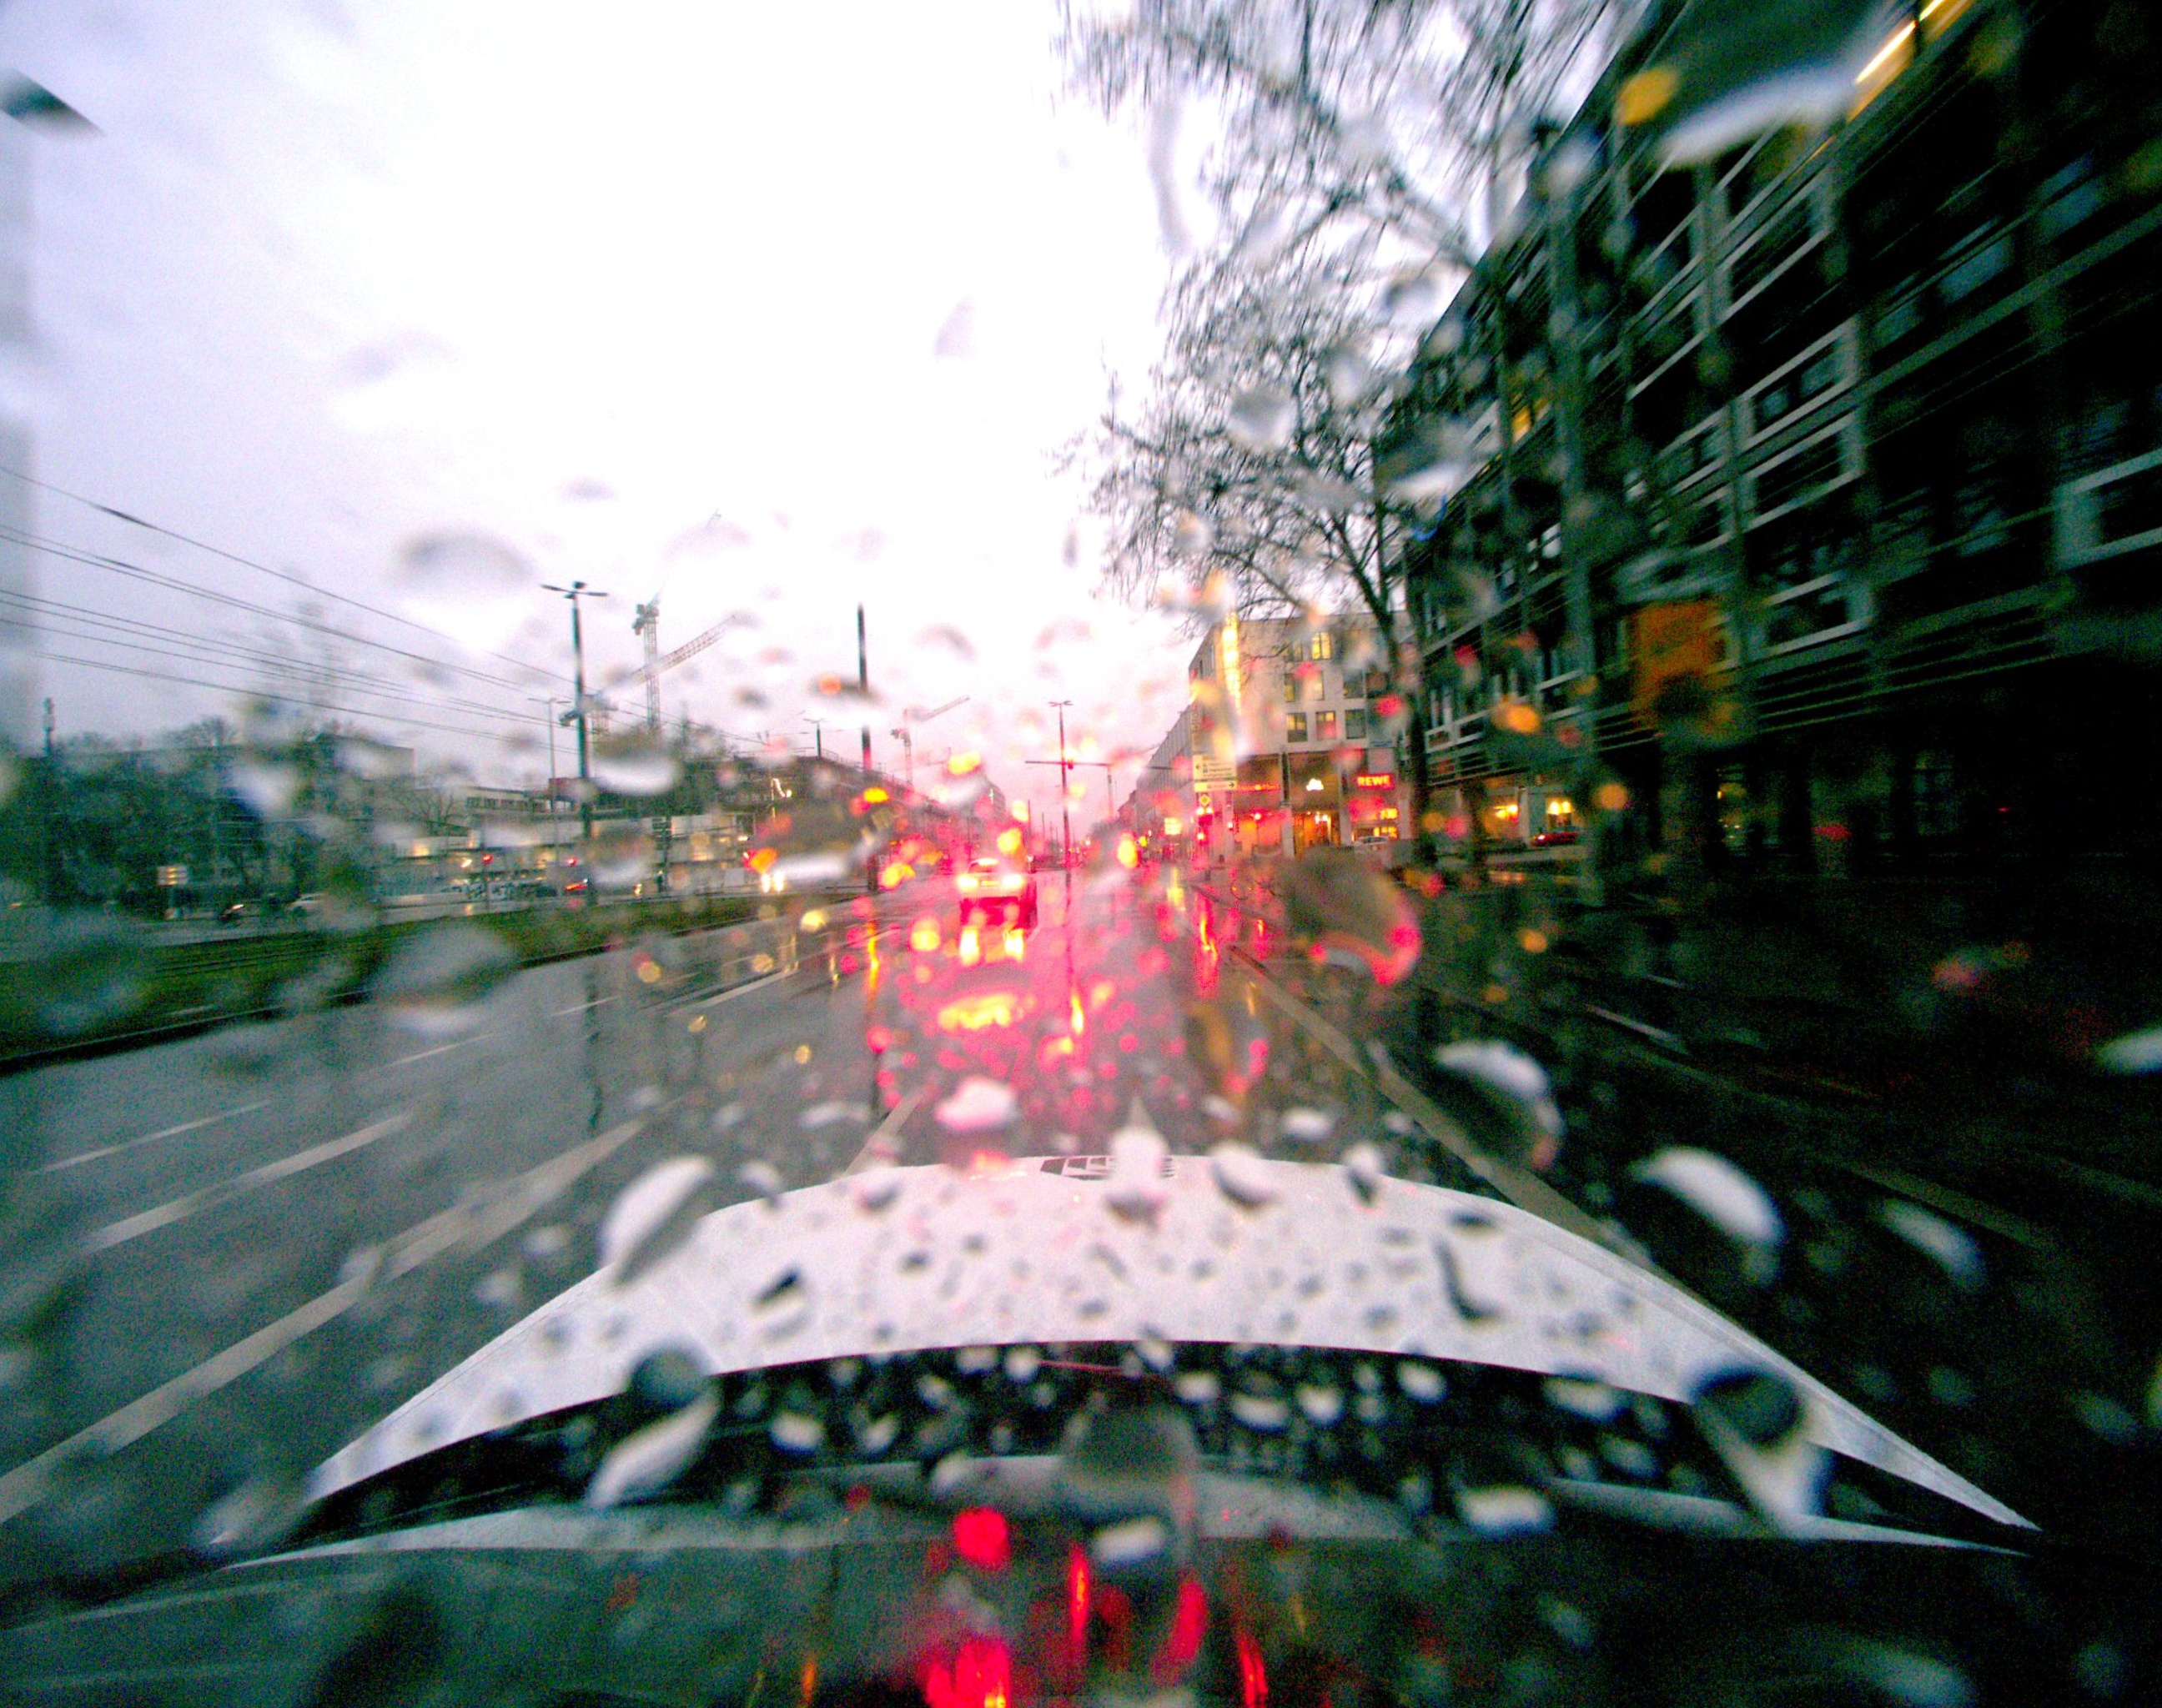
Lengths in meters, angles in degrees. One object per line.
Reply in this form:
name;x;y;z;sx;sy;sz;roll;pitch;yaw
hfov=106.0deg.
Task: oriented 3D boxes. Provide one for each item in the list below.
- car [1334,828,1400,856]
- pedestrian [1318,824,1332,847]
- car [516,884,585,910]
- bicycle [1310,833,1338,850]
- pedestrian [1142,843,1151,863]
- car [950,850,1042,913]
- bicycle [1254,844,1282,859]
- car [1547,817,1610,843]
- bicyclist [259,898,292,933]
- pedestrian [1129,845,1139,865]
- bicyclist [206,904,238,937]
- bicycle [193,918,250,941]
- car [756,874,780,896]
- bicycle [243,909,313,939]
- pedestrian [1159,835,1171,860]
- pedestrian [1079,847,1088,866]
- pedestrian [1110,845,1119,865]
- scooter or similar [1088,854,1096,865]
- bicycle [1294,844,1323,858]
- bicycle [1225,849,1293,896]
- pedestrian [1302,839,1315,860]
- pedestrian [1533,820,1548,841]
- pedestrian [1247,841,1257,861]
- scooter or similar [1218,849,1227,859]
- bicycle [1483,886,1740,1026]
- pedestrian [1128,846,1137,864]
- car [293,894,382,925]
car;21.049;-0.849;60.049;4.281;1.761;1.710;-4;0;6
pedestrian;17.250;-1.295;57.562;0.774;1.595;0.616;-4;0;18
car;-41.988;3.385;64.565;3.979;1.749;1.997;-4;0;-4
bicycle;17.199;-0.900;57.593;1.830;1.093;0.620;-4;0;18
pedestrian;5.876;-0.081;73.275;0.617;1.746;0.612;-3;0;-2
car;-2.347;0.709;23.719;1.902;1.520;4.926;-4;0;2
bicycle;17.468;-0.251;76.135;2.419;1.329;0.634;-3;0;-3
car;36.264;-1.715;59.425;3.557;1.582;1.677;-4;-1;0
bicyclist;-44.580;3.382;45.070;0.992;1.839;0.719;-4;0;-6
pedestrian;4.624;0.088;70.931;0.704;1.619;0.613;-3;0;0
bicyclist;-48.386;3.736;45.865;1.031;1.696;0.617;-4;0;-4
bicycle;-48.351;4.247;45.838;2.368;1.033;0.617;-4;0;-4
car;-32.082;3.155;83.463;1.759;2.013;3.979;-3;0;-15
bicycle;-44.442;3.860;45.092;2.828;1.362;0.719;-4;0;-7
pedestrian;7.347;-0.547;70.838;0.691;2.087;0.606;-3;0;-37
pedestrian;0.240;0.244;74.093;0.739;1.667;0.400;-3;0;-2
pedestrian;3.077;0.118;74.491;0.699;1.760;0.668;-3;0;3
scooter or similar;1.001;0.509;74.118;0.739;0.993;0.400;-4;0;-2
bicycle;17.834;-0.228;63.940;2.119;0.991;0.542;-2;-1;3
bicycle;5.078;0.522;23.233;1.746;1.148;0.435;-5;0;-2
pedestrian;17.860;-0.358;63.957;0.811;1.570;0.537;-3;0;4
pedestrian;37.917;-1.942;67.218;0.791;1.631;0.710;-2;-1;3
pedestrian;15.738;-0.263;74.831;0.700;1.760;0.653;-3;0;3
scooter or similar;13.445;0.023;77.477;0.737;0.916;0.401;-4;0;4
bicycle;4.539;0.851;7.034;1.782;0.974;0.617;-5;0;-2
pedestrian;4.547;0.086;72.326;0.703;1.619;0.681;-3;0;4
car;-50.152;3.721;54.987;3.975;1.684;2.000;-4;0;-1
